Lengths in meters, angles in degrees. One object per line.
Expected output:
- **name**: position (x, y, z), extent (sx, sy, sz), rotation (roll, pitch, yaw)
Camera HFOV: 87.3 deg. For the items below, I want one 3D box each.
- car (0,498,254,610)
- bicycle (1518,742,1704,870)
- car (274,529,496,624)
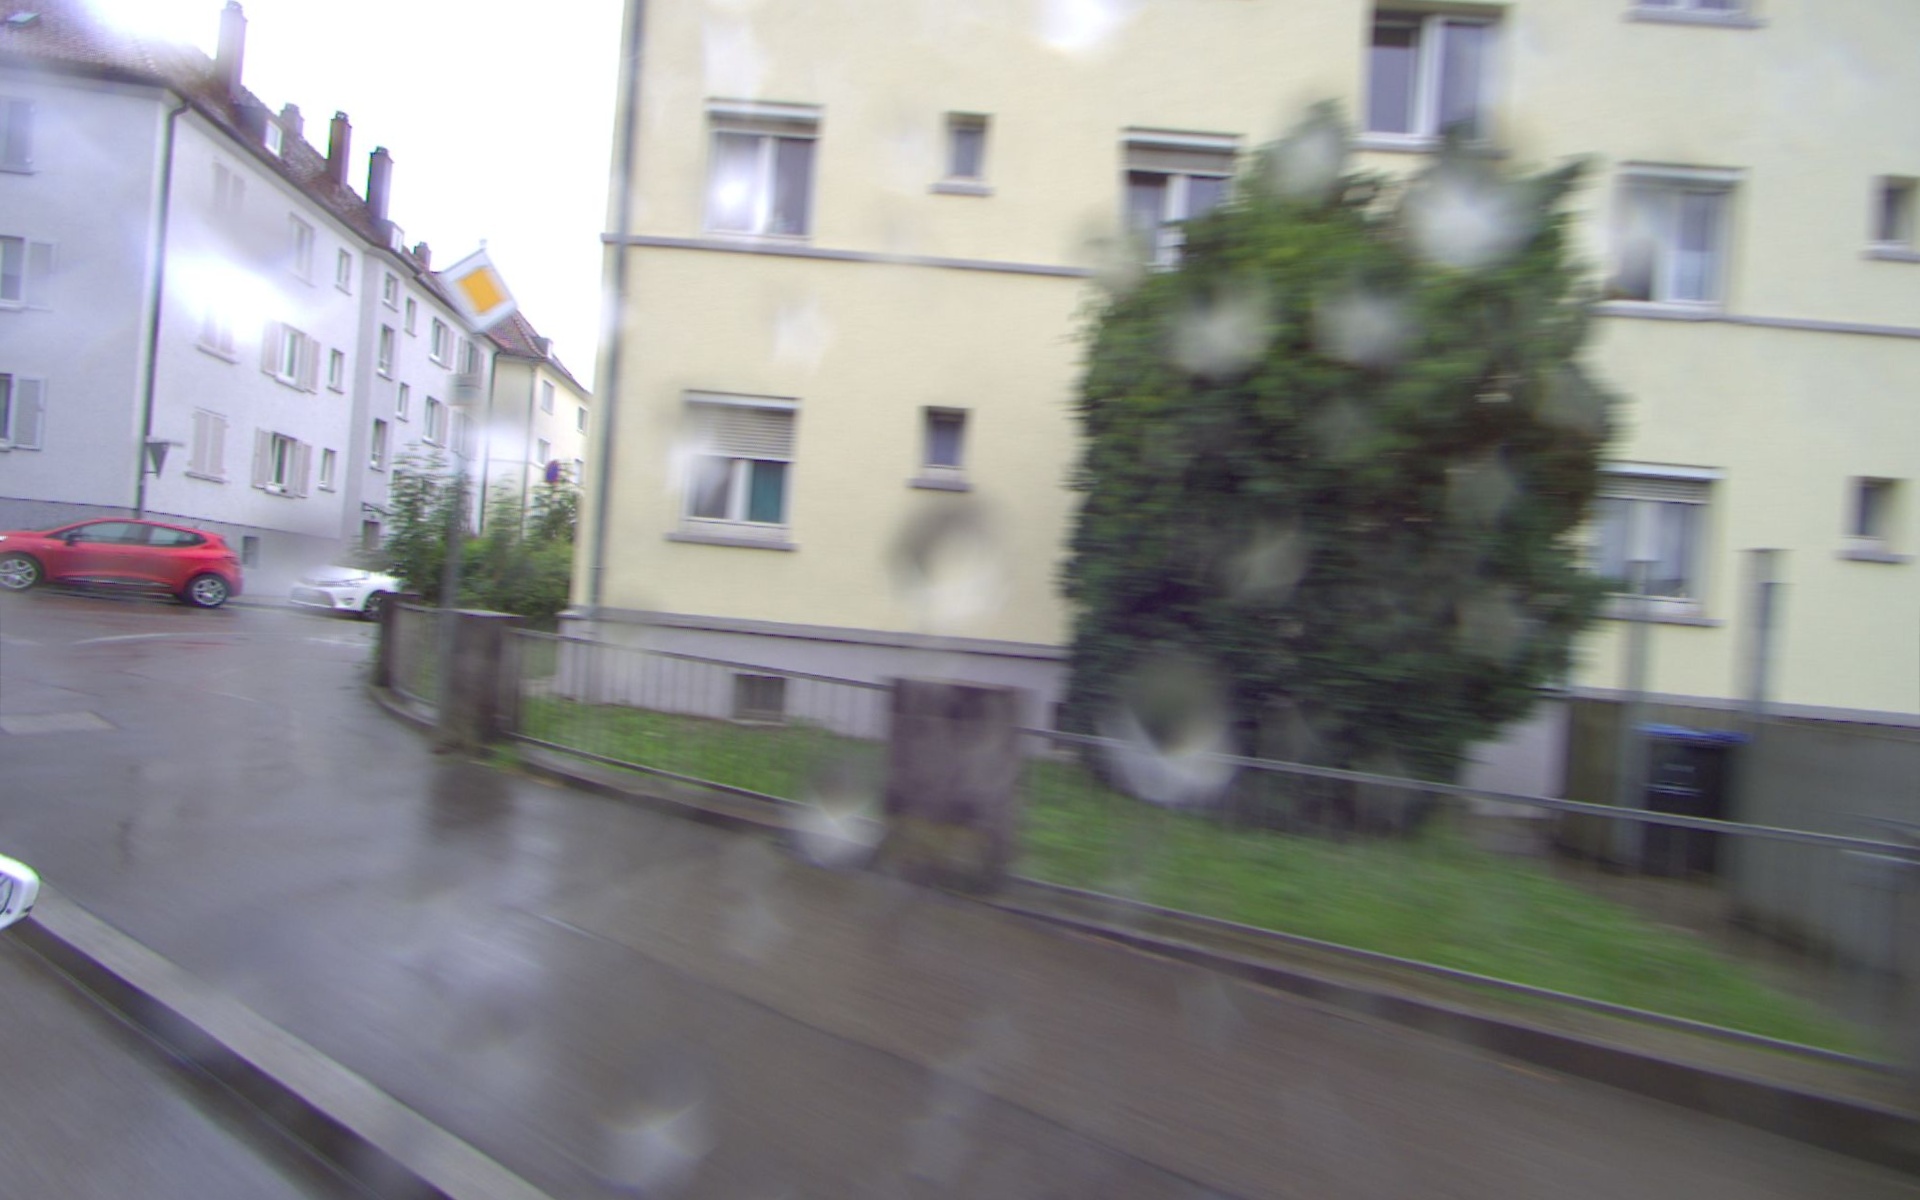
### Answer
- **car**: position (-15.108, -0.822, 17.656), extent (1.700, 1.424, 4.078), rotation (8, -1, 41)
- **bicycle**: position (5.327, 1.676, 8.262), extent (1.182, 0.828, 0.369), rotation (7, 1, 3)
- **car**: position (-12.789, -0.447, 22.726), extent (1.692, 1.608, 4.244), rotation (8, -1, 15)
